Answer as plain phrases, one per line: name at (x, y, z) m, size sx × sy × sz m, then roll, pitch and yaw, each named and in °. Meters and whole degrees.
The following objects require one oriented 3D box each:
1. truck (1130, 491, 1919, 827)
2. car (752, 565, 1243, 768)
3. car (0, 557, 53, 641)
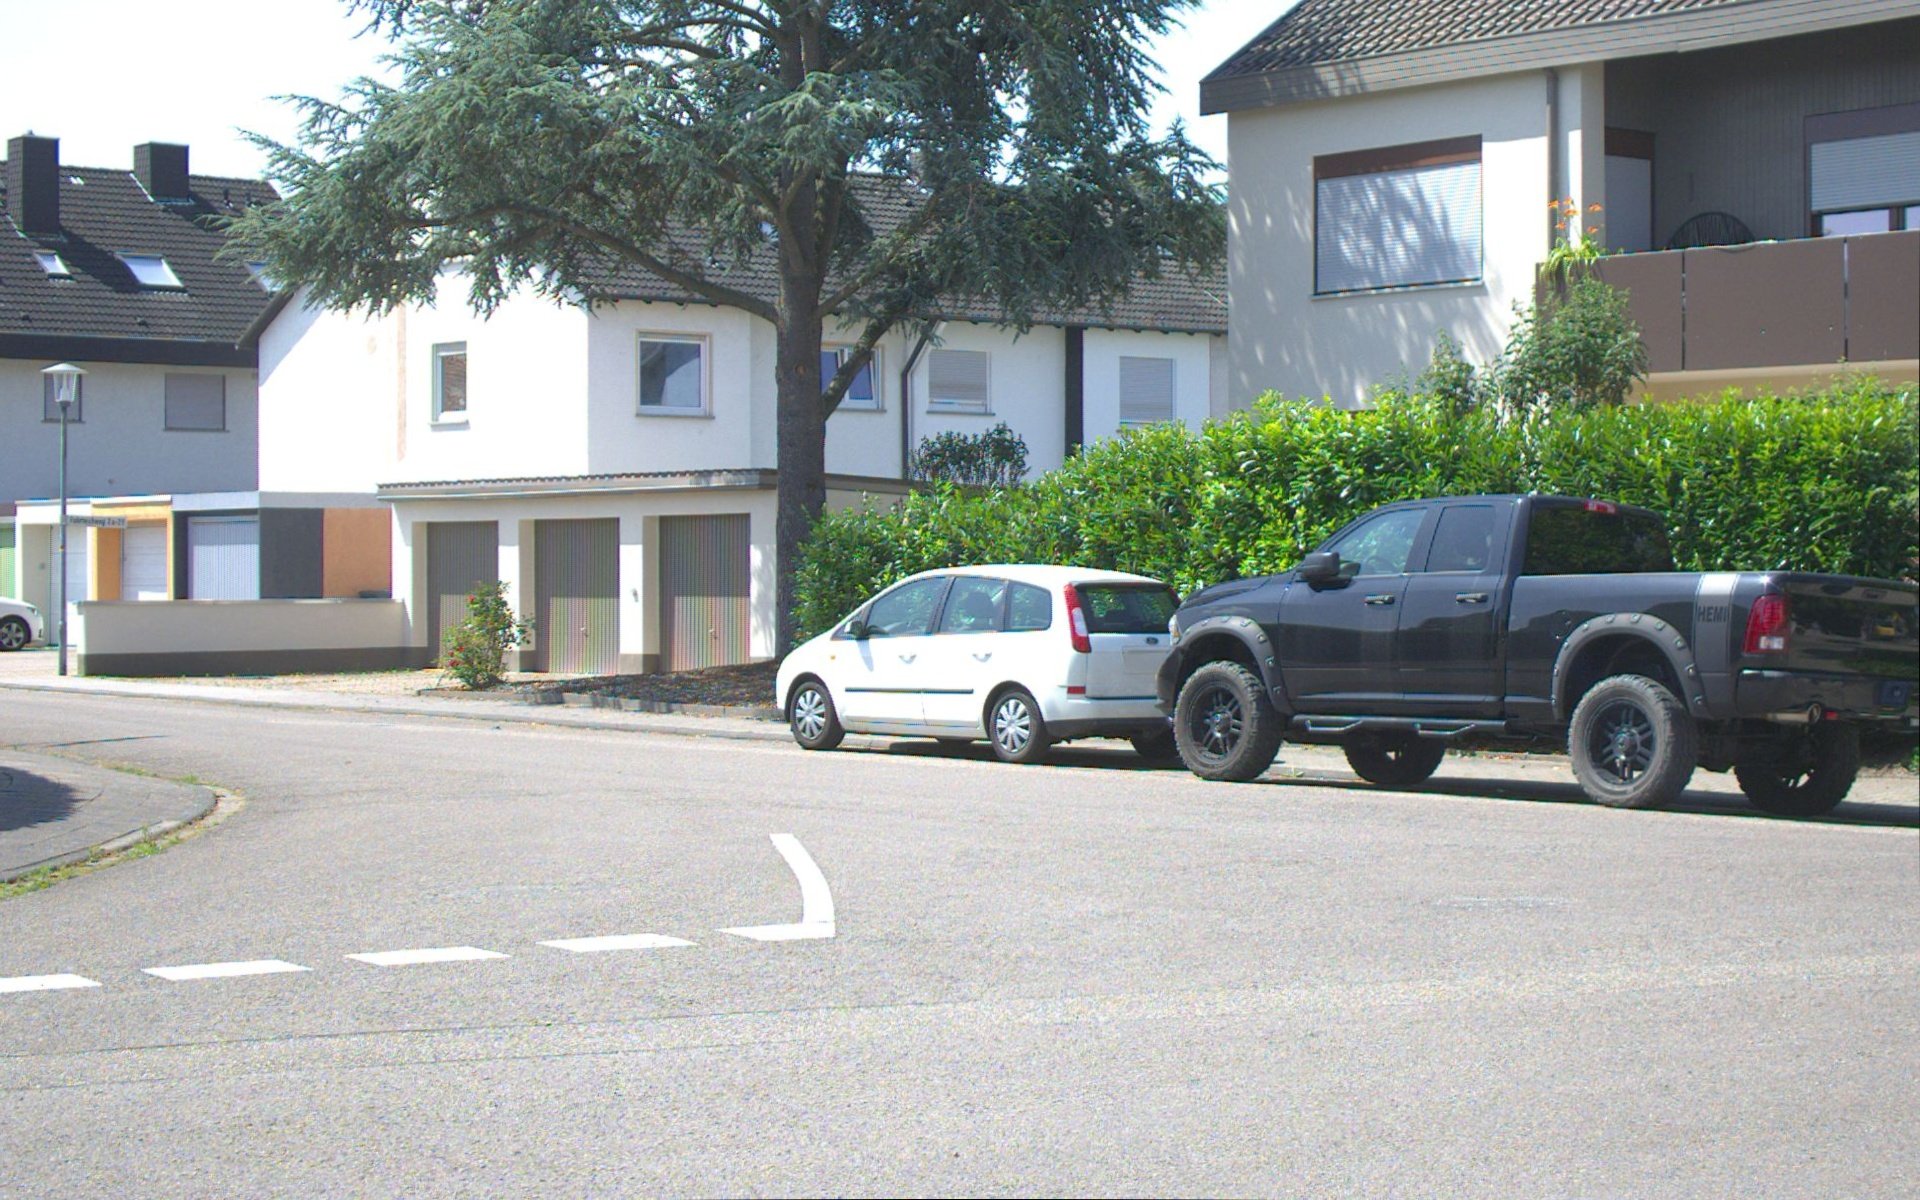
truck at (4.030, 0.343, 23.497) m, size 2.365 × 2.007 × 5.710 m, roll 1°, pitch 0°, yaw -42°
car at (0.246, 0.497, 28.824) m, size 1.798 × 1.558 × 4.141 m, roll 0°, pitch 1°, yaw -41°
car at (-17.314, -0.024, 57.783) m, size 3.600 × 1.403 × 1.783 m, roll 0°, pitch 1°, yaw -39°
